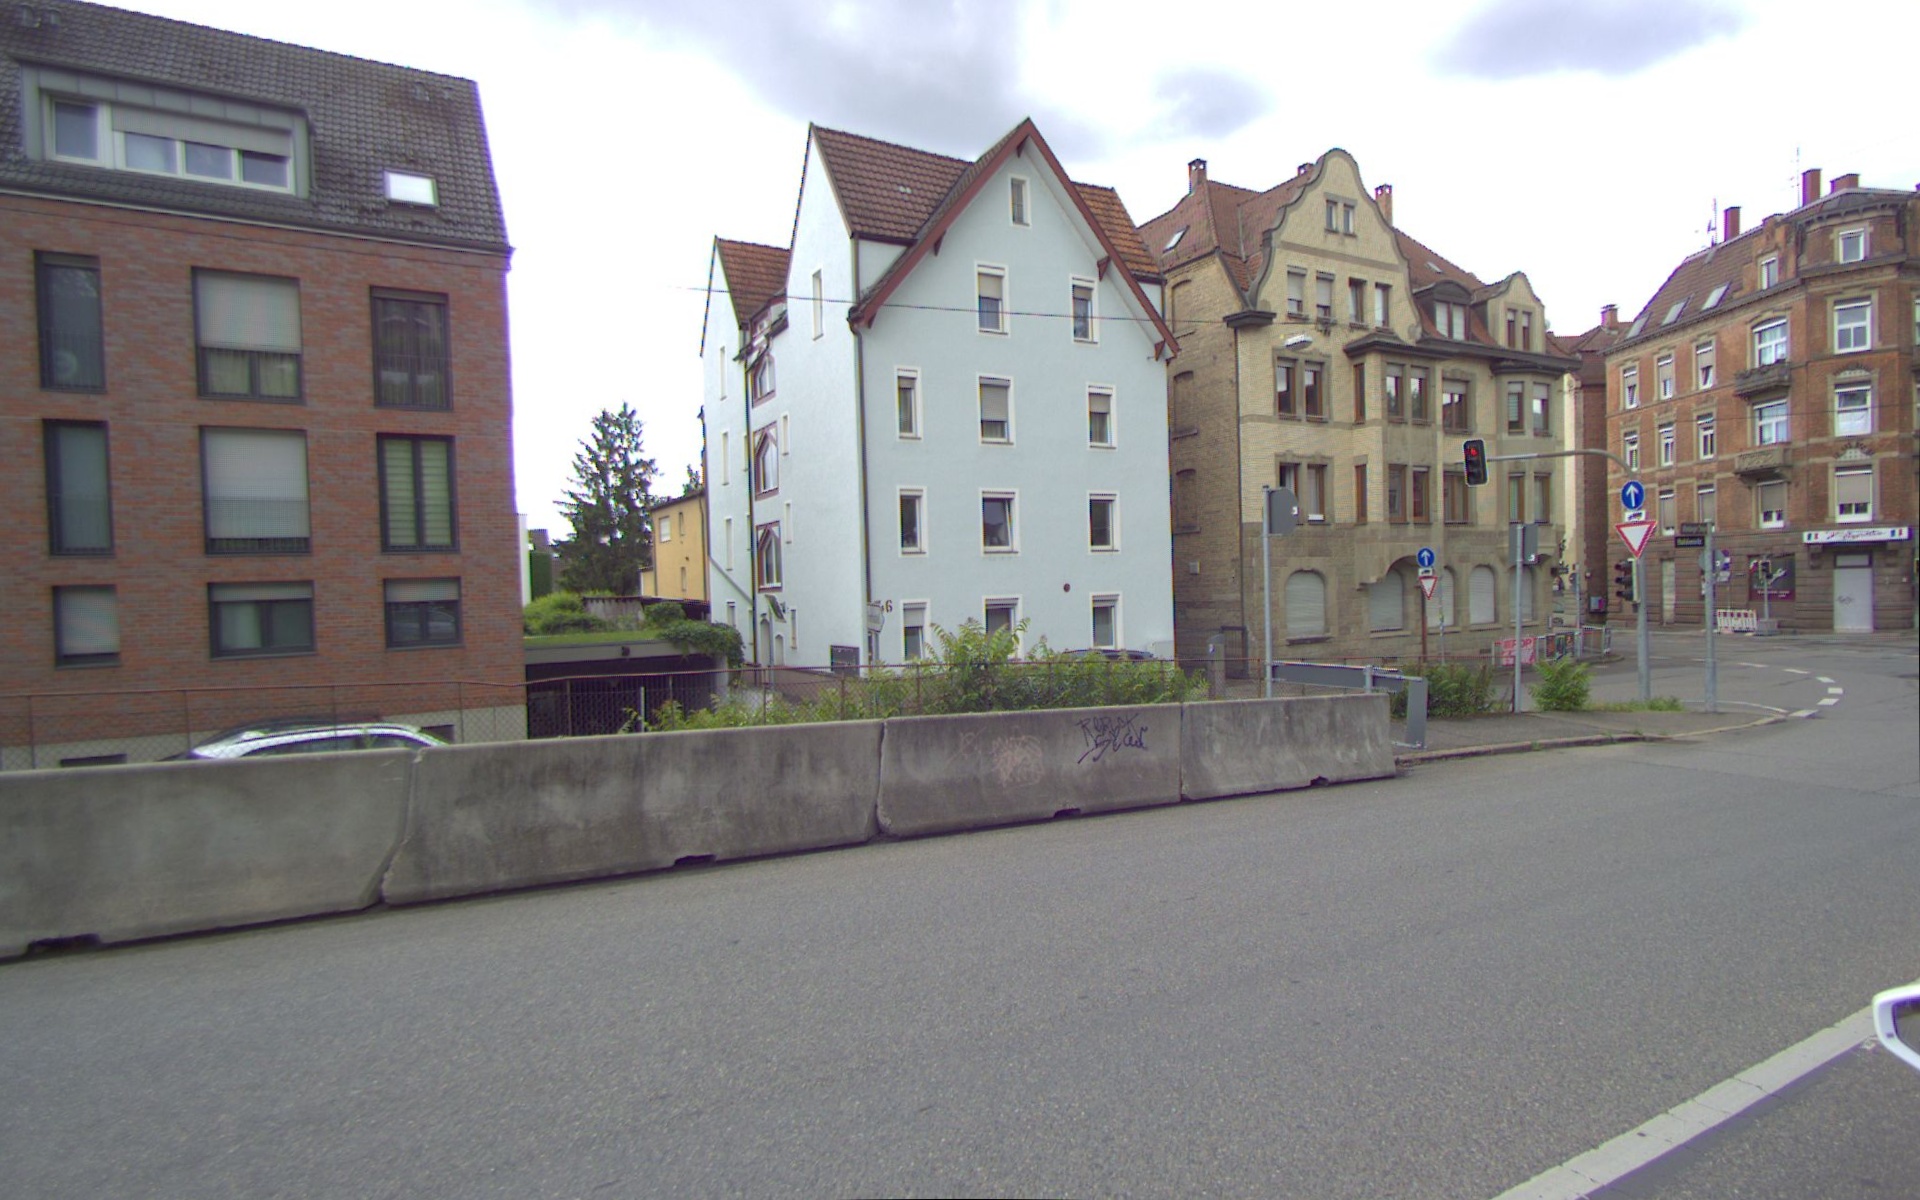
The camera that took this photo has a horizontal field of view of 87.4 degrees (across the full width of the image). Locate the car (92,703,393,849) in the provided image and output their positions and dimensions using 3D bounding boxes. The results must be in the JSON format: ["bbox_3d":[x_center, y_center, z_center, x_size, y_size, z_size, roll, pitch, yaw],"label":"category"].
[{"bbox_3d":[-11.229,2.692,16.069,3.722,1.825,1.706,1,-1,-30],"label":"car"}]

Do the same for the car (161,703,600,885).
[{"bbox_3d":[-6.884,2.214,12.371,4.371,1.534,1.819,1,0,-30],"label":"car"}]

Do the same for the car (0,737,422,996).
[{"bbox_3d":[-6.796,2.133,8.407,3.956,1.534,1.526,1,0,-33],"label":"car"}]

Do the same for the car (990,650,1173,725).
[{"bbox_3d":[2.913,2.010,23.873,4.185,1.575,1.674,1,-3,-31],"label":"car"}]
